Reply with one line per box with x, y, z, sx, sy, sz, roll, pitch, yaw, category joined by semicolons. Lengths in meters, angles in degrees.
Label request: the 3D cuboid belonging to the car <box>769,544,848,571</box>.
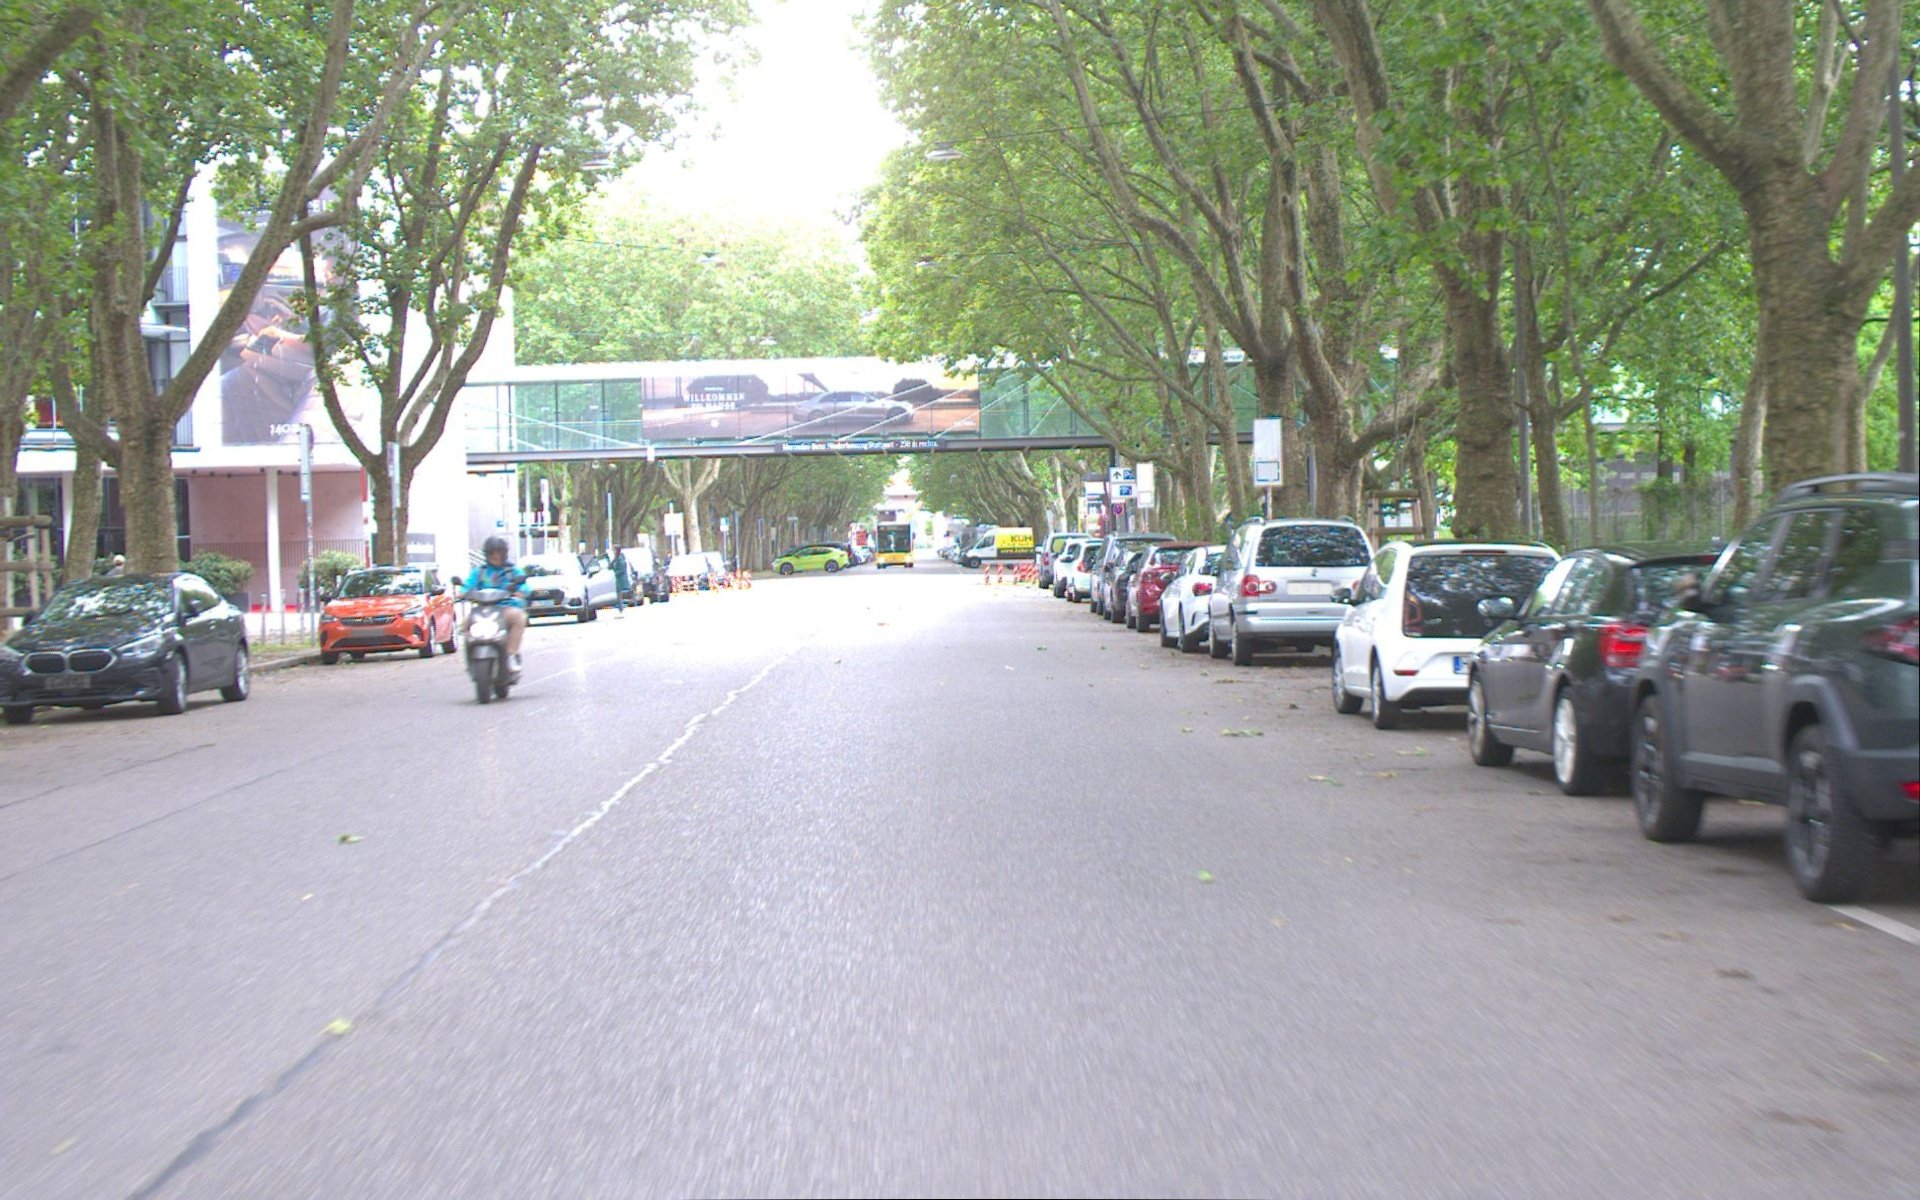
-9.289;-2.598;211.131;4.700;1.579;1.864;-1;0;1;car

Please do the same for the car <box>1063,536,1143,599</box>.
3.573;-0.819;86.583;1.807;1.521;4.096;-1;1;0;car

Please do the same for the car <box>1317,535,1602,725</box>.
3.957;0.195;27.800;1.707;1.422;3.889;0;1;0;car

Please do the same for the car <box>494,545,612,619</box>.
-9.168;-0.432;77.818;2.073;1.557;4.756;-1;1;0;car

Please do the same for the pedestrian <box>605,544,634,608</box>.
-7.828;-0.554;78.992;0.584;1.461;0.567;0;1;3;pedestrian

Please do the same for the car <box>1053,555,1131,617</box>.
3.603;-0.391;94.466;1.914;1.612;4.749;-1;1;0;car

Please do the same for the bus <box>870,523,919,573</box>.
-4.483;-3.516;234.983;3.038;3.149;12.678;-3;1;-1;bus

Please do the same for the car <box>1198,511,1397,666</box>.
4.015;-0.167;41.560;1.903;1.733;4.507;-1;1;-1;car

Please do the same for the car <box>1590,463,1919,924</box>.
4.100;0.309;14.956;1.707;1.692;4.631;0;1;-2;car

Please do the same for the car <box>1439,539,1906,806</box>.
4.150;0.351;20.729;1.707;1.410;4.362;-1;1;-3;car

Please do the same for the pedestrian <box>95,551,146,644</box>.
-14.810;-0.053;60.661;0.592;1.614;0.791;-1;1;9;pedestrian

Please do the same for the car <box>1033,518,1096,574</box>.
3.342;-1.737;110.789;1.847;1.777;5.211;0;1;0;car

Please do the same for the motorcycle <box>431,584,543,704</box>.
-4.668;0.411;34.121;0.873;1.075;3.053;-1;1;-4;motorcycle

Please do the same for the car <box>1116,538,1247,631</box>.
3.716;-0.285;58.317;1.856;1.476;4.178;-1;1;-1;car

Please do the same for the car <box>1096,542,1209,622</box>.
3.602;-0.370;64.990;1.877;1.422;4.480;-1;1;0;car

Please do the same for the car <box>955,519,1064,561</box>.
3.182;-3.871;221.109;6.823;2.505;2.317;-1;1;-2;car

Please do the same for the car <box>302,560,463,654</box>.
-8.924;0.080;53.437;1.808;1.349;4.000;-1;1;0;car

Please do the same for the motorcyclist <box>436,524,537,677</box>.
-4.677;-0.007;34.046;0.870;1.475;1.265;-1;1;-4;motorcyclist

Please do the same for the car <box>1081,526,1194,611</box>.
3.677;-0.668;71.887;1.981;1.674;4.732;-1;1;-1;car

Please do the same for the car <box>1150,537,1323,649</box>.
3.727;-0.125;46.990;1.877;1.422;4.586;-1;1;-1;car

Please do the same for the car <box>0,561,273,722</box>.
-8.540;0.379;35.381;1.827;1.460;4.627;-3;1;2;car
